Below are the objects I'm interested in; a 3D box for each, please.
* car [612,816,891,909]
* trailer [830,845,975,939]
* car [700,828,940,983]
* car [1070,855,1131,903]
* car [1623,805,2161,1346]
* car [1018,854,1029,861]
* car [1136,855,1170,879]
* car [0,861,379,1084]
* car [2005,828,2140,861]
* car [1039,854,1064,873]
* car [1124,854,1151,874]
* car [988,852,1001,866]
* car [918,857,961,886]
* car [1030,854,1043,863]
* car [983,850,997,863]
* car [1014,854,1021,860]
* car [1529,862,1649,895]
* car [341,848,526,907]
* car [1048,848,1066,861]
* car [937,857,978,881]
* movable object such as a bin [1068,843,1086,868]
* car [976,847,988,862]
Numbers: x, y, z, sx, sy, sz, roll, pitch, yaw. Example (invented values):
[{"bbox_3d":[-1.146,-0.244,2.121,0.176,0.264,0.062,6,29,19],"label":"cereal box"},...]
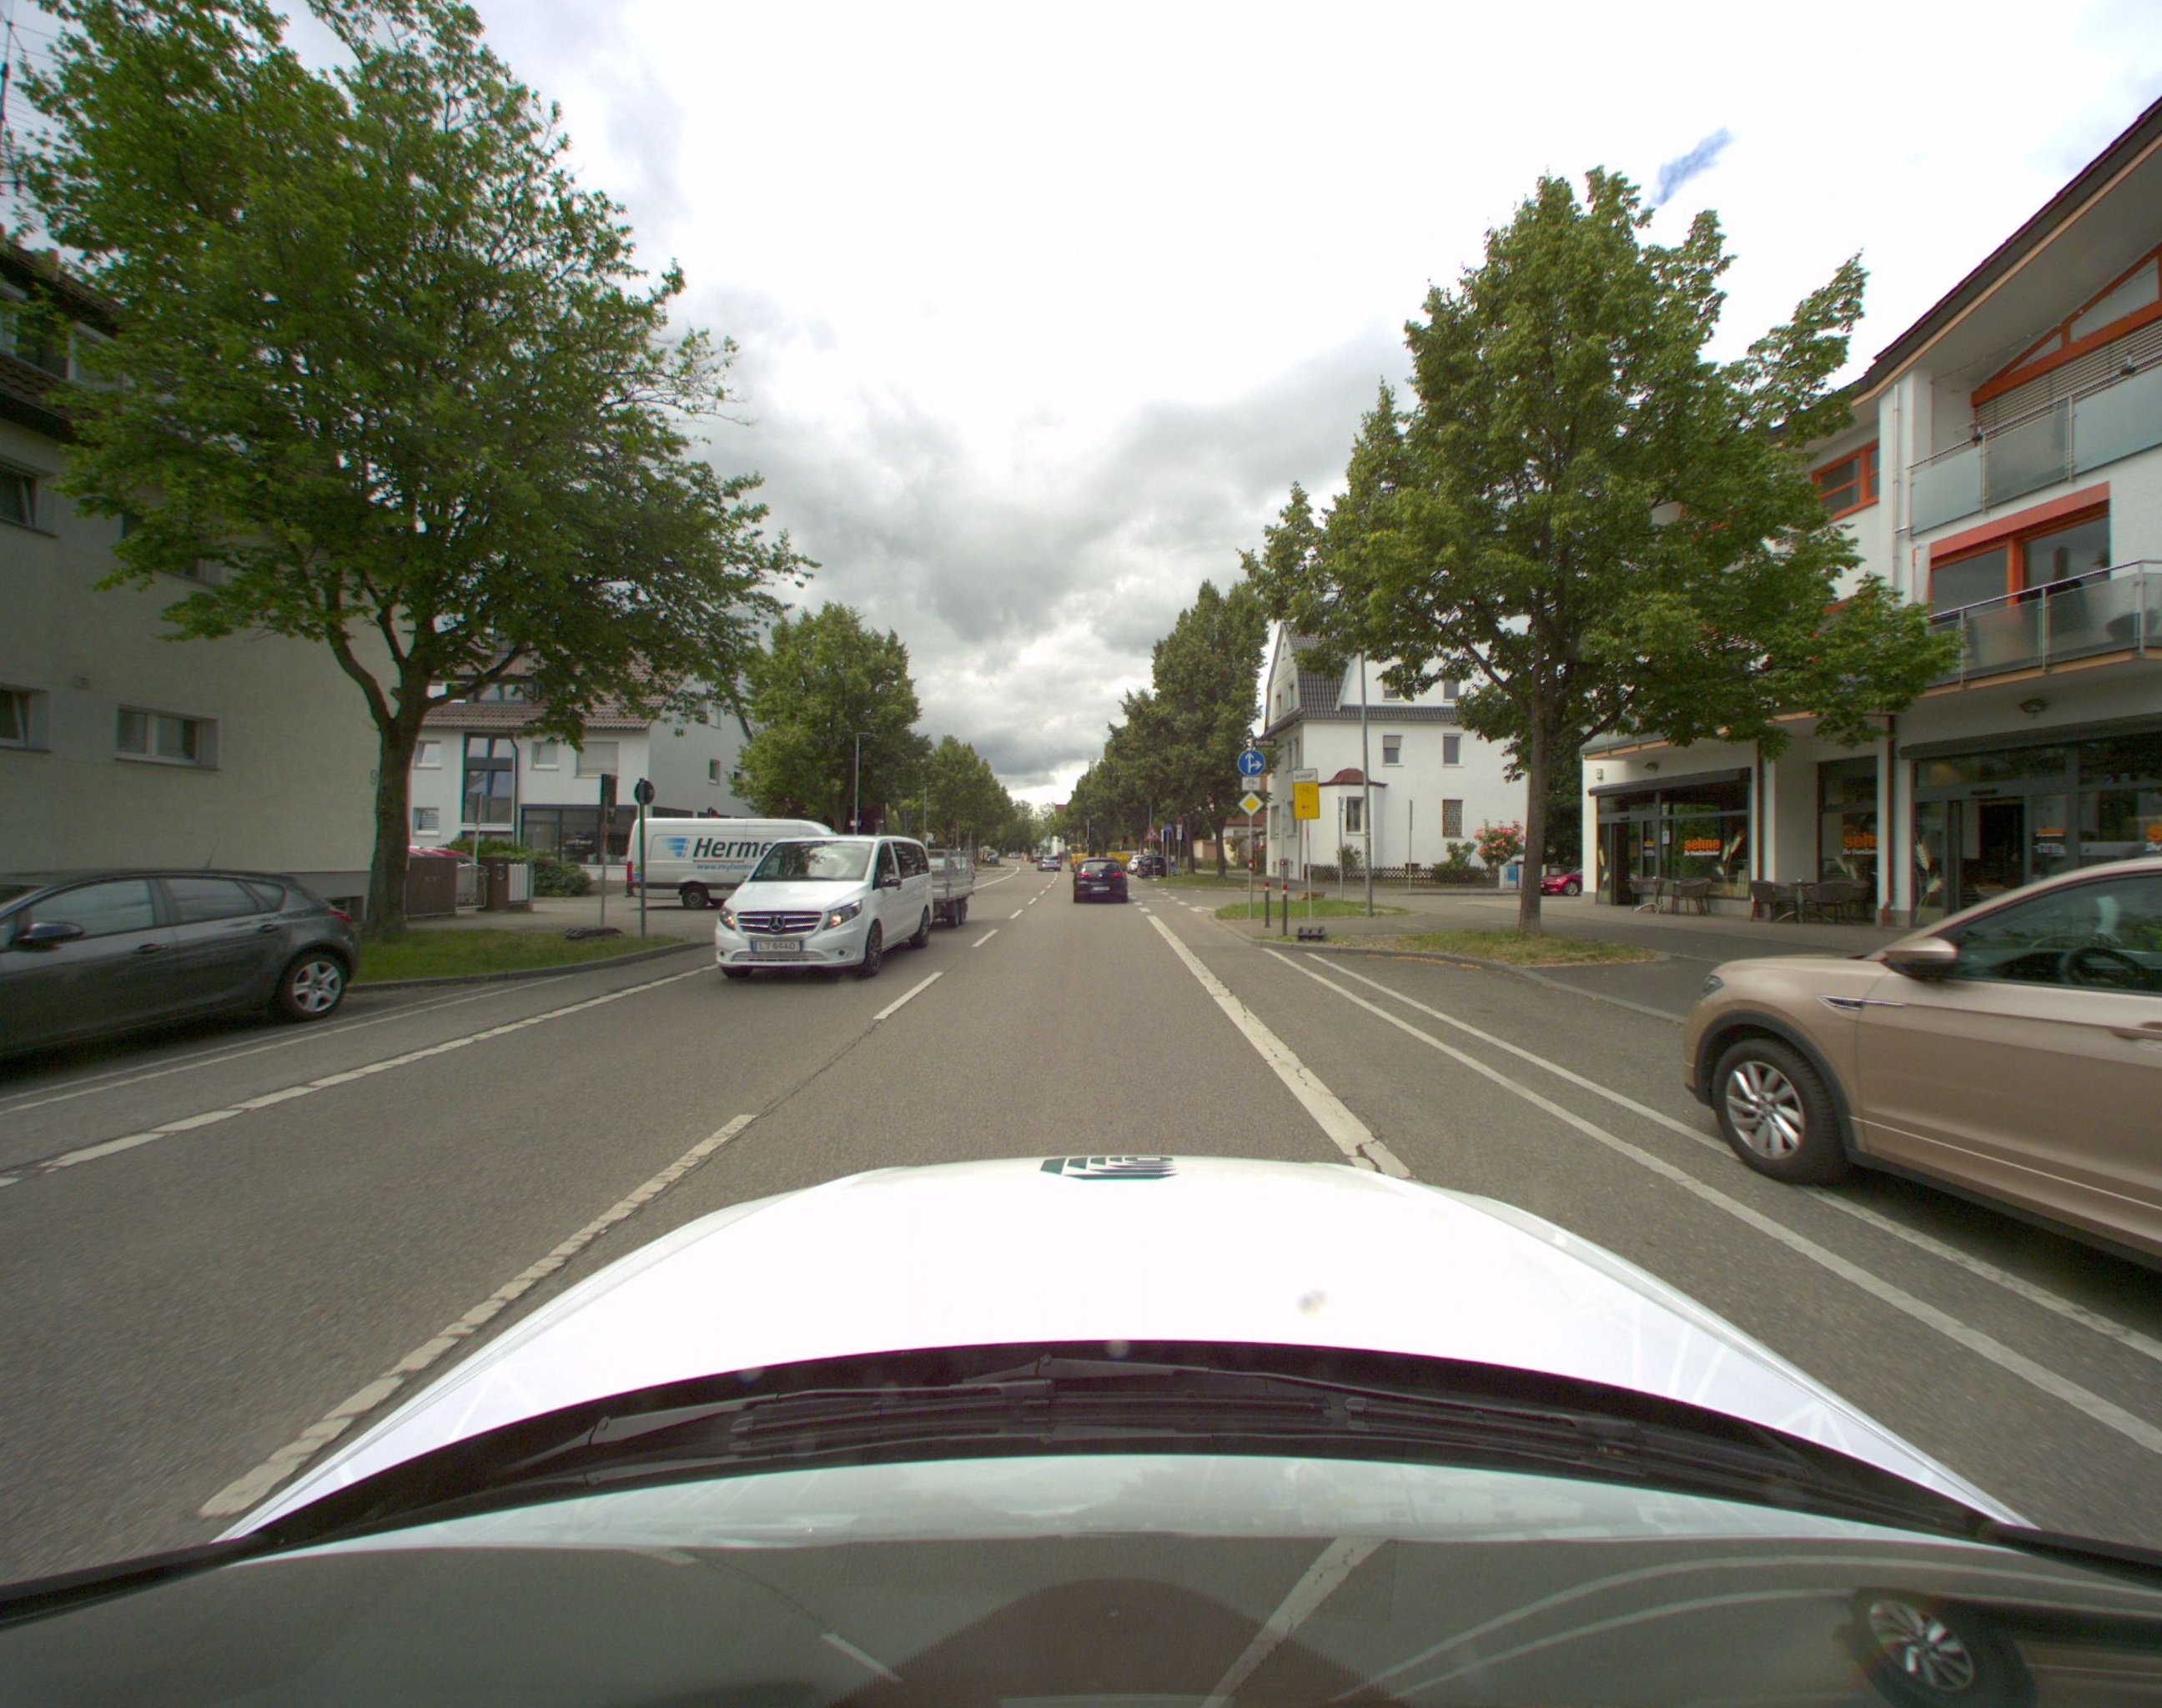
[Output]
[{"bbox_3d":[-9.519,0.236,24.077,7.273,2.594,2.217,0,0,-4],"label":"car"},{"bbox_3d":[-3.483,0.678,16.827,1.931,1.677,4.688,0,0,0],"label":"trailer"},{"bbox_3d":[-3.514,0.615,12.061,1.960,1.830,4.819,0,0,0],"label":"car"},{"bbox_3d":[0.571,0.778,26.902,1.814,1.437,3.737,-1,0,-2],"label":"car"},{"bbox_3d":[4.008,0.645,2.657,1.717,1.580,4.058,0,0,-2],"label":"car"},{"bbox_3d":[-11.617,0.775,165.074,1.811,1.415,3.679,0,0,-11],"label":"car"},{"bbox_3d":[4.527,0.788,51.776,1.700,1.454,4.615,0,0,-1],"label":"car"},{"bbox_3d":[-8.098,0.816,6.172,1.725,1.469,4.303,-1,0,1],"label":"car"},{"bbox_3d":[40.565,-0.368,33.368,3.674,1.306,1.658,0,0,-2],"label":"car"},{"bbox_3d":[-2.725,0.859,74.089,1.904,1.685,3.730,-1,0,-7],"label":"car"},{"bbox_3d":[4.243,0.741,61.650,1.668,1.462,3.996,0,0,-2],"label":"car"},{"bbox_3d":[-11.806,0.665,110.596,1.666,1.772,4.456,-1,0,-7],"label":"car"},{"bbox_3d":[-7.591,0.911,43.982,1.638,1.420,4.019,-1,0,-1],"label":"car"},{"bbox_3d":[-7.233,0.725,131.896,1.810,1.375,3.680,0,0,-10],"label":"car"},{"bbox_3d":[-14.841,0.370,132.545,2.091,2.175,5.031,0,0,-8],"label":"car"},{"bbox_3d":[-16.147,0.753,206.474,1.807,1.415,3.686,0,0,-5],"label":"car"},{"bbox_3d":[19.795,0.941,31.826,3.687,1.230,1.745,1,0,-3],"label":"car"},{"bbox_3d":[-20.823,0.754,26.363,4.338,1.778,1.870,-1,-2,-4],"label":"car"},{"bbox_3d":[-3.039,0.056,102.421,1.790,1.623,3.728,-1,0,-9],"label":"car"},{"bbox_3d":[-7.621,0.883,50.625,1.707,1.406,4.302,0,0,2],"label":"car"},{"bbox_3d":[-0.390,0.157,83.819,1.763,2.574,3.737,0,0,-2],"label":"movable object such as a bin"},{"bbox_3d":[-17.366,0.062,142.866,2.091,2.626,5.031,0,0,-8],"label":"car"}]
